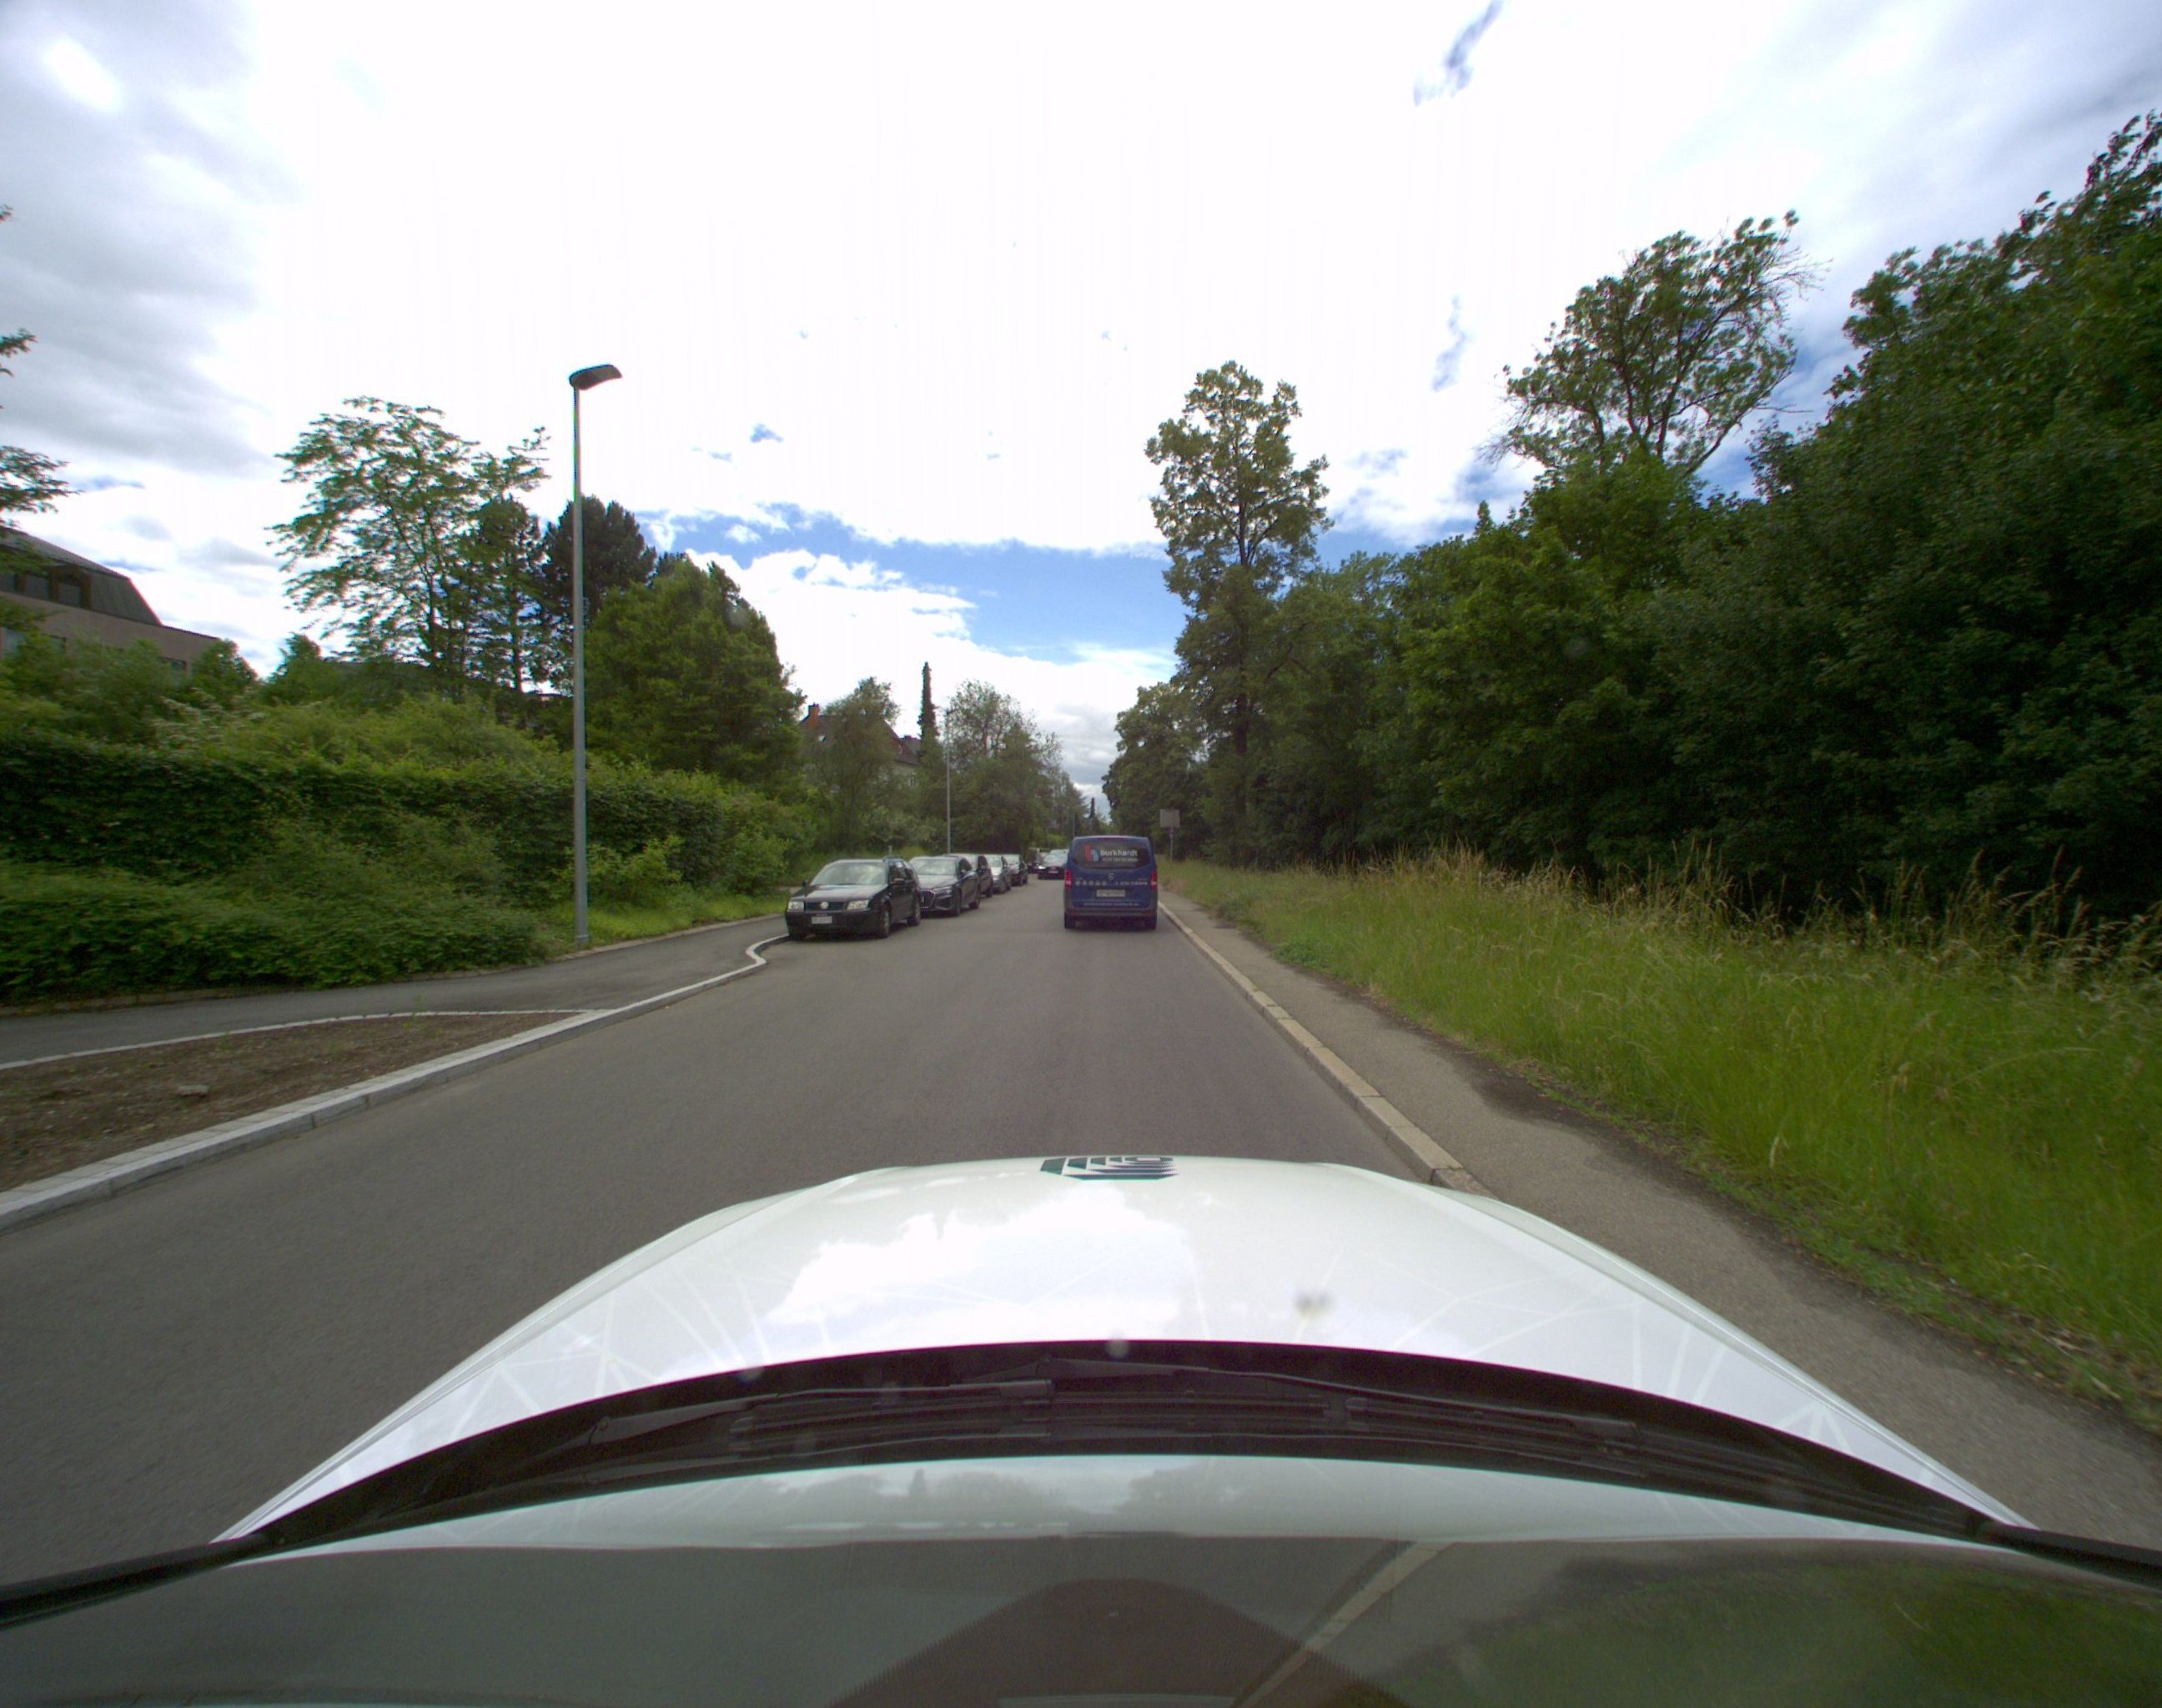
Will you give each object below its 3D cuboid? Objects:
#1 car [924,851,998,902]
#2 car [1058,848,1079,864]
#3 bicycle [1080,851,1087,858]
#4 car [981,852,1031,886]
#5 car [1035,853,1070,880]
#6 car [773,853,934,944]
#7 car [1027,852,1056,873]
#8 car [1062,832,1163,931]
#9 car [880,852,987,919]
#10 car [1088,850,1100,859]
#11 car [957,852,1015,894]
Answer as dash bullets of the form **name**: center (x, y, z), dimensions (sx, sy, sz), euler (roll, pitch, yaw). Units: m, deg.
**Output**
- **car**: center (-3.761, 0.663, 26.068), dimensions (1.618, 1.482, 4.002), euler (-1, 0, 2)
- **car**: center (-1.472, 0.214, 96.570), dimensions (1.965, 1.736, 5.196), euler (1, 0, 5)
- **bicycle**: center (0.512, 0.127, 144.948), dimensions (0.902, 1.251, 2.920), euler (3, 0, 5)
- **car**: center (-3.370, 0.636, 37.449), dimensions (1.772, 1.432, 5.106), euler (0, 0, 1)
- **car**: center (-1.594, 0.691, 46.381), dimensions (1.774, 1.426, 4.490), euler (0, 0, 1)
- **car**: center (-4.205, 0.734, 15.878), dimensions (1.676, 1.482, 4.695), euler (-1, 0, 2)
- **car**: center (-2.778, 0.574, 57.670), dimensions (1.616, 1.450, 3.973), euler (0, 0, 4)
- **car**: center (0.581, 0.470, 17.496), dimensions (1.883, 1.843, 3.999), euler (1, 2, -1)
- **car**: center (-3.631, 0.713, 20.839), dimensions (1.699, 1.482, 4.499), euler (-1, 0, 3)
- **car**: center (2.343, 0.066, 147.763), dimensions (1.827, 1.631, 4.307), euler (2, 0, 5)
- **car**: center (-3.535, 0.672, 30.960), dimensions (1.618, 1.432, 4.352), euler (-1, 0, 1)
